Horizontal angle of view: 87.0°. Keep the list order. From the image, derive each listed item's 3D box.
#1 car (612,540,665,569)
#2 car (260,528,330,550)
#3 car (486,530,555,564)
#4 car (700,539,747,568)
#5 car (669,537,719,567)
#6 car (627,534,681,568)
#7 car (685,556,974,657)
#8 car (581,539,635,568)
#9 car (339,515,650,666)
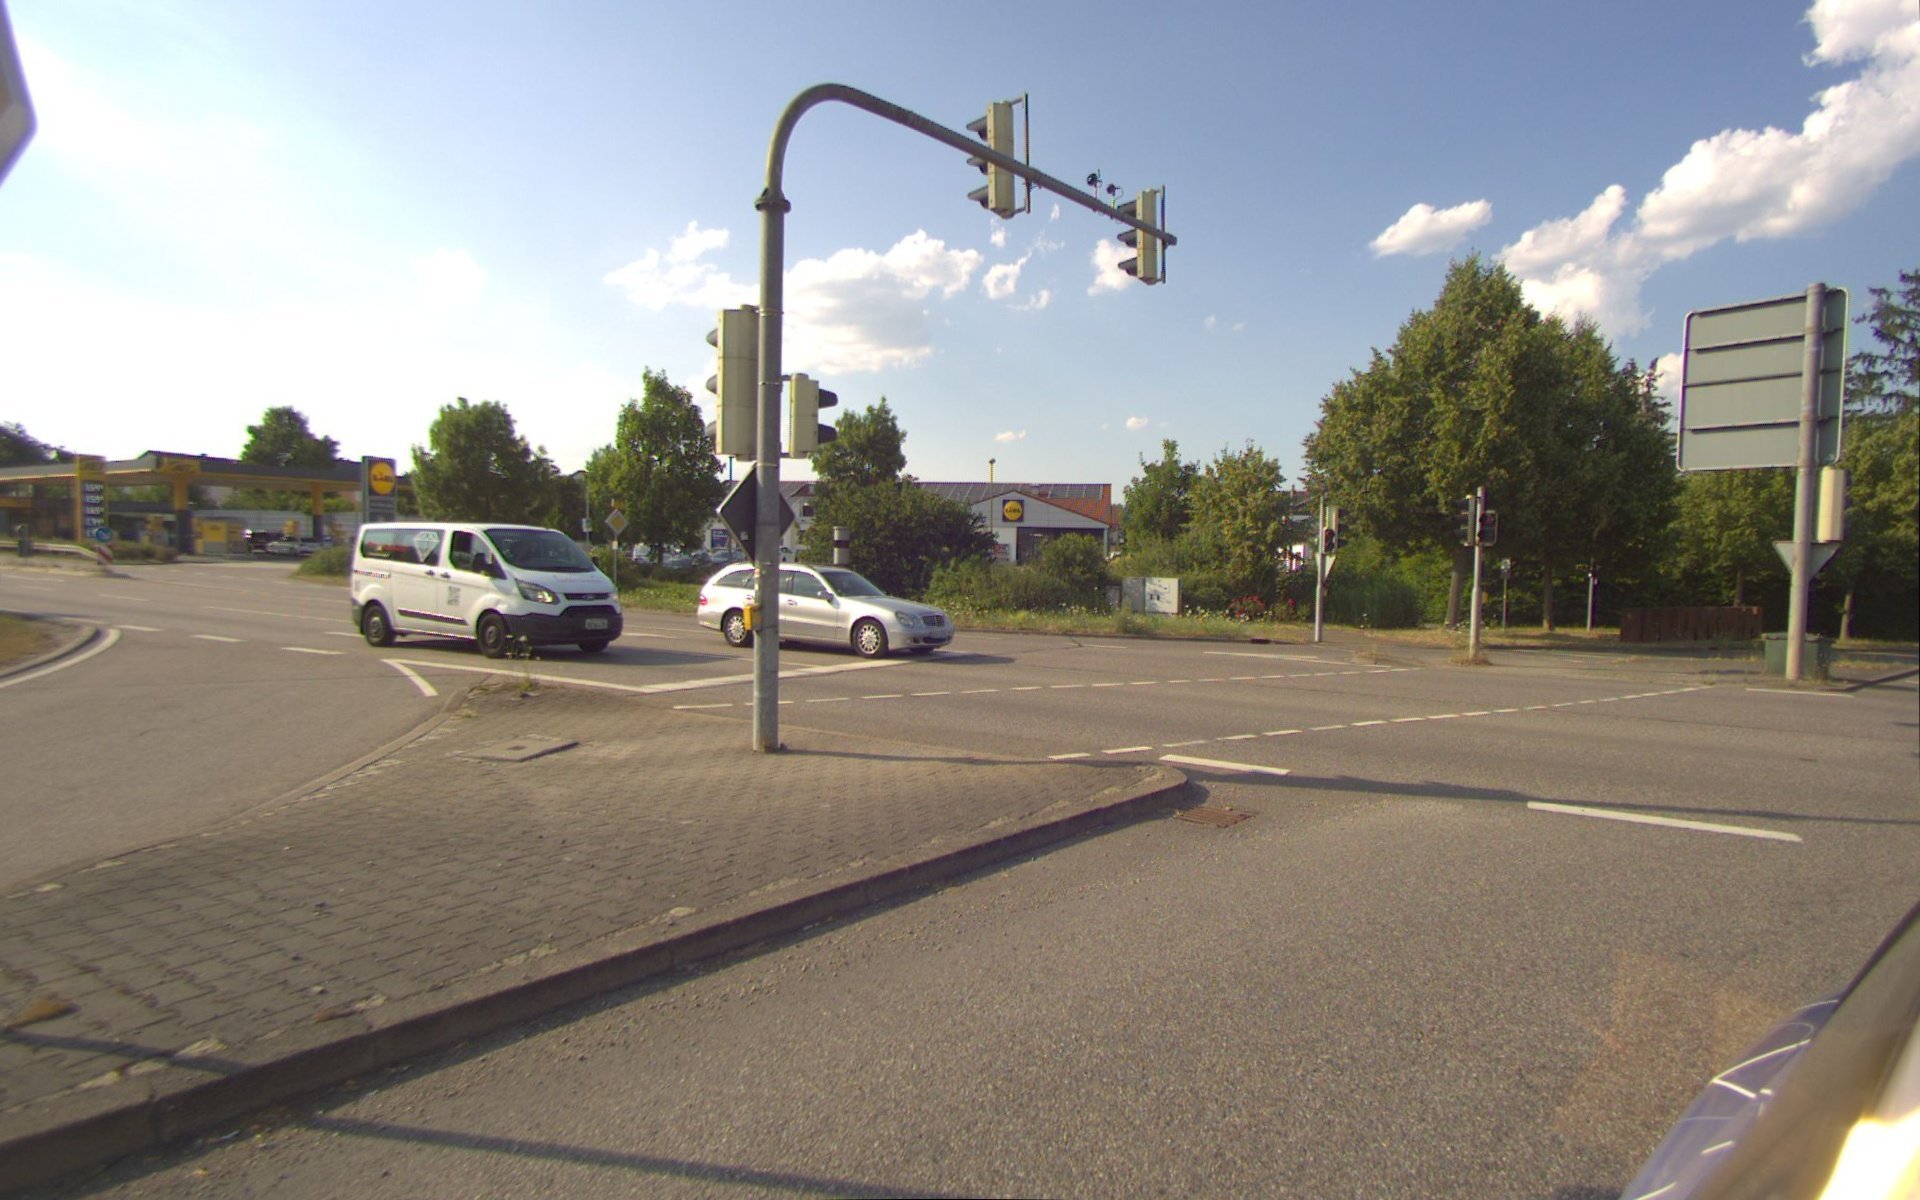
[{"bbox_3d":[-25.564,-3.614,80.704,1.968,2.039,4.918,2,0,9],"label":"car"},{"bbox_3d":[-48.119,-4.380,73.213,4.812,1.392,2.267,1,0,29],"label":"car"},{"bbox_3d":[-29.972,-3.572,69.185,1.968,2.039,4.918,2,0,9],"label":"car"},{"bbox_3d":[-18.582,-3.647,79.756,1.968,2.039,4.660,2,0,9],"label":"car"},{"bbox_3d":[-20.932,-3.760,79.867,1.968,2.039,4.918,2,0,9],"label":"car"},{"bbox_3d":[-20.441,-3.250,67.852,1.932,2.039,4.652,1,1,4],"label":"car"},{"bbox_3d":[-2.337,0.045,17.608,4.913,1.532,1.843,2,1,31],"label":"car"},{"bbox_3d":[-28.268,-3.695,81.493,1.968,2.039,4.918,2,0,9],"label":"car"},{"bbox_3d":[-7.314,-0.222,15.792,4.776,1.971,1.887,4,1,29],"label":"car"}]
